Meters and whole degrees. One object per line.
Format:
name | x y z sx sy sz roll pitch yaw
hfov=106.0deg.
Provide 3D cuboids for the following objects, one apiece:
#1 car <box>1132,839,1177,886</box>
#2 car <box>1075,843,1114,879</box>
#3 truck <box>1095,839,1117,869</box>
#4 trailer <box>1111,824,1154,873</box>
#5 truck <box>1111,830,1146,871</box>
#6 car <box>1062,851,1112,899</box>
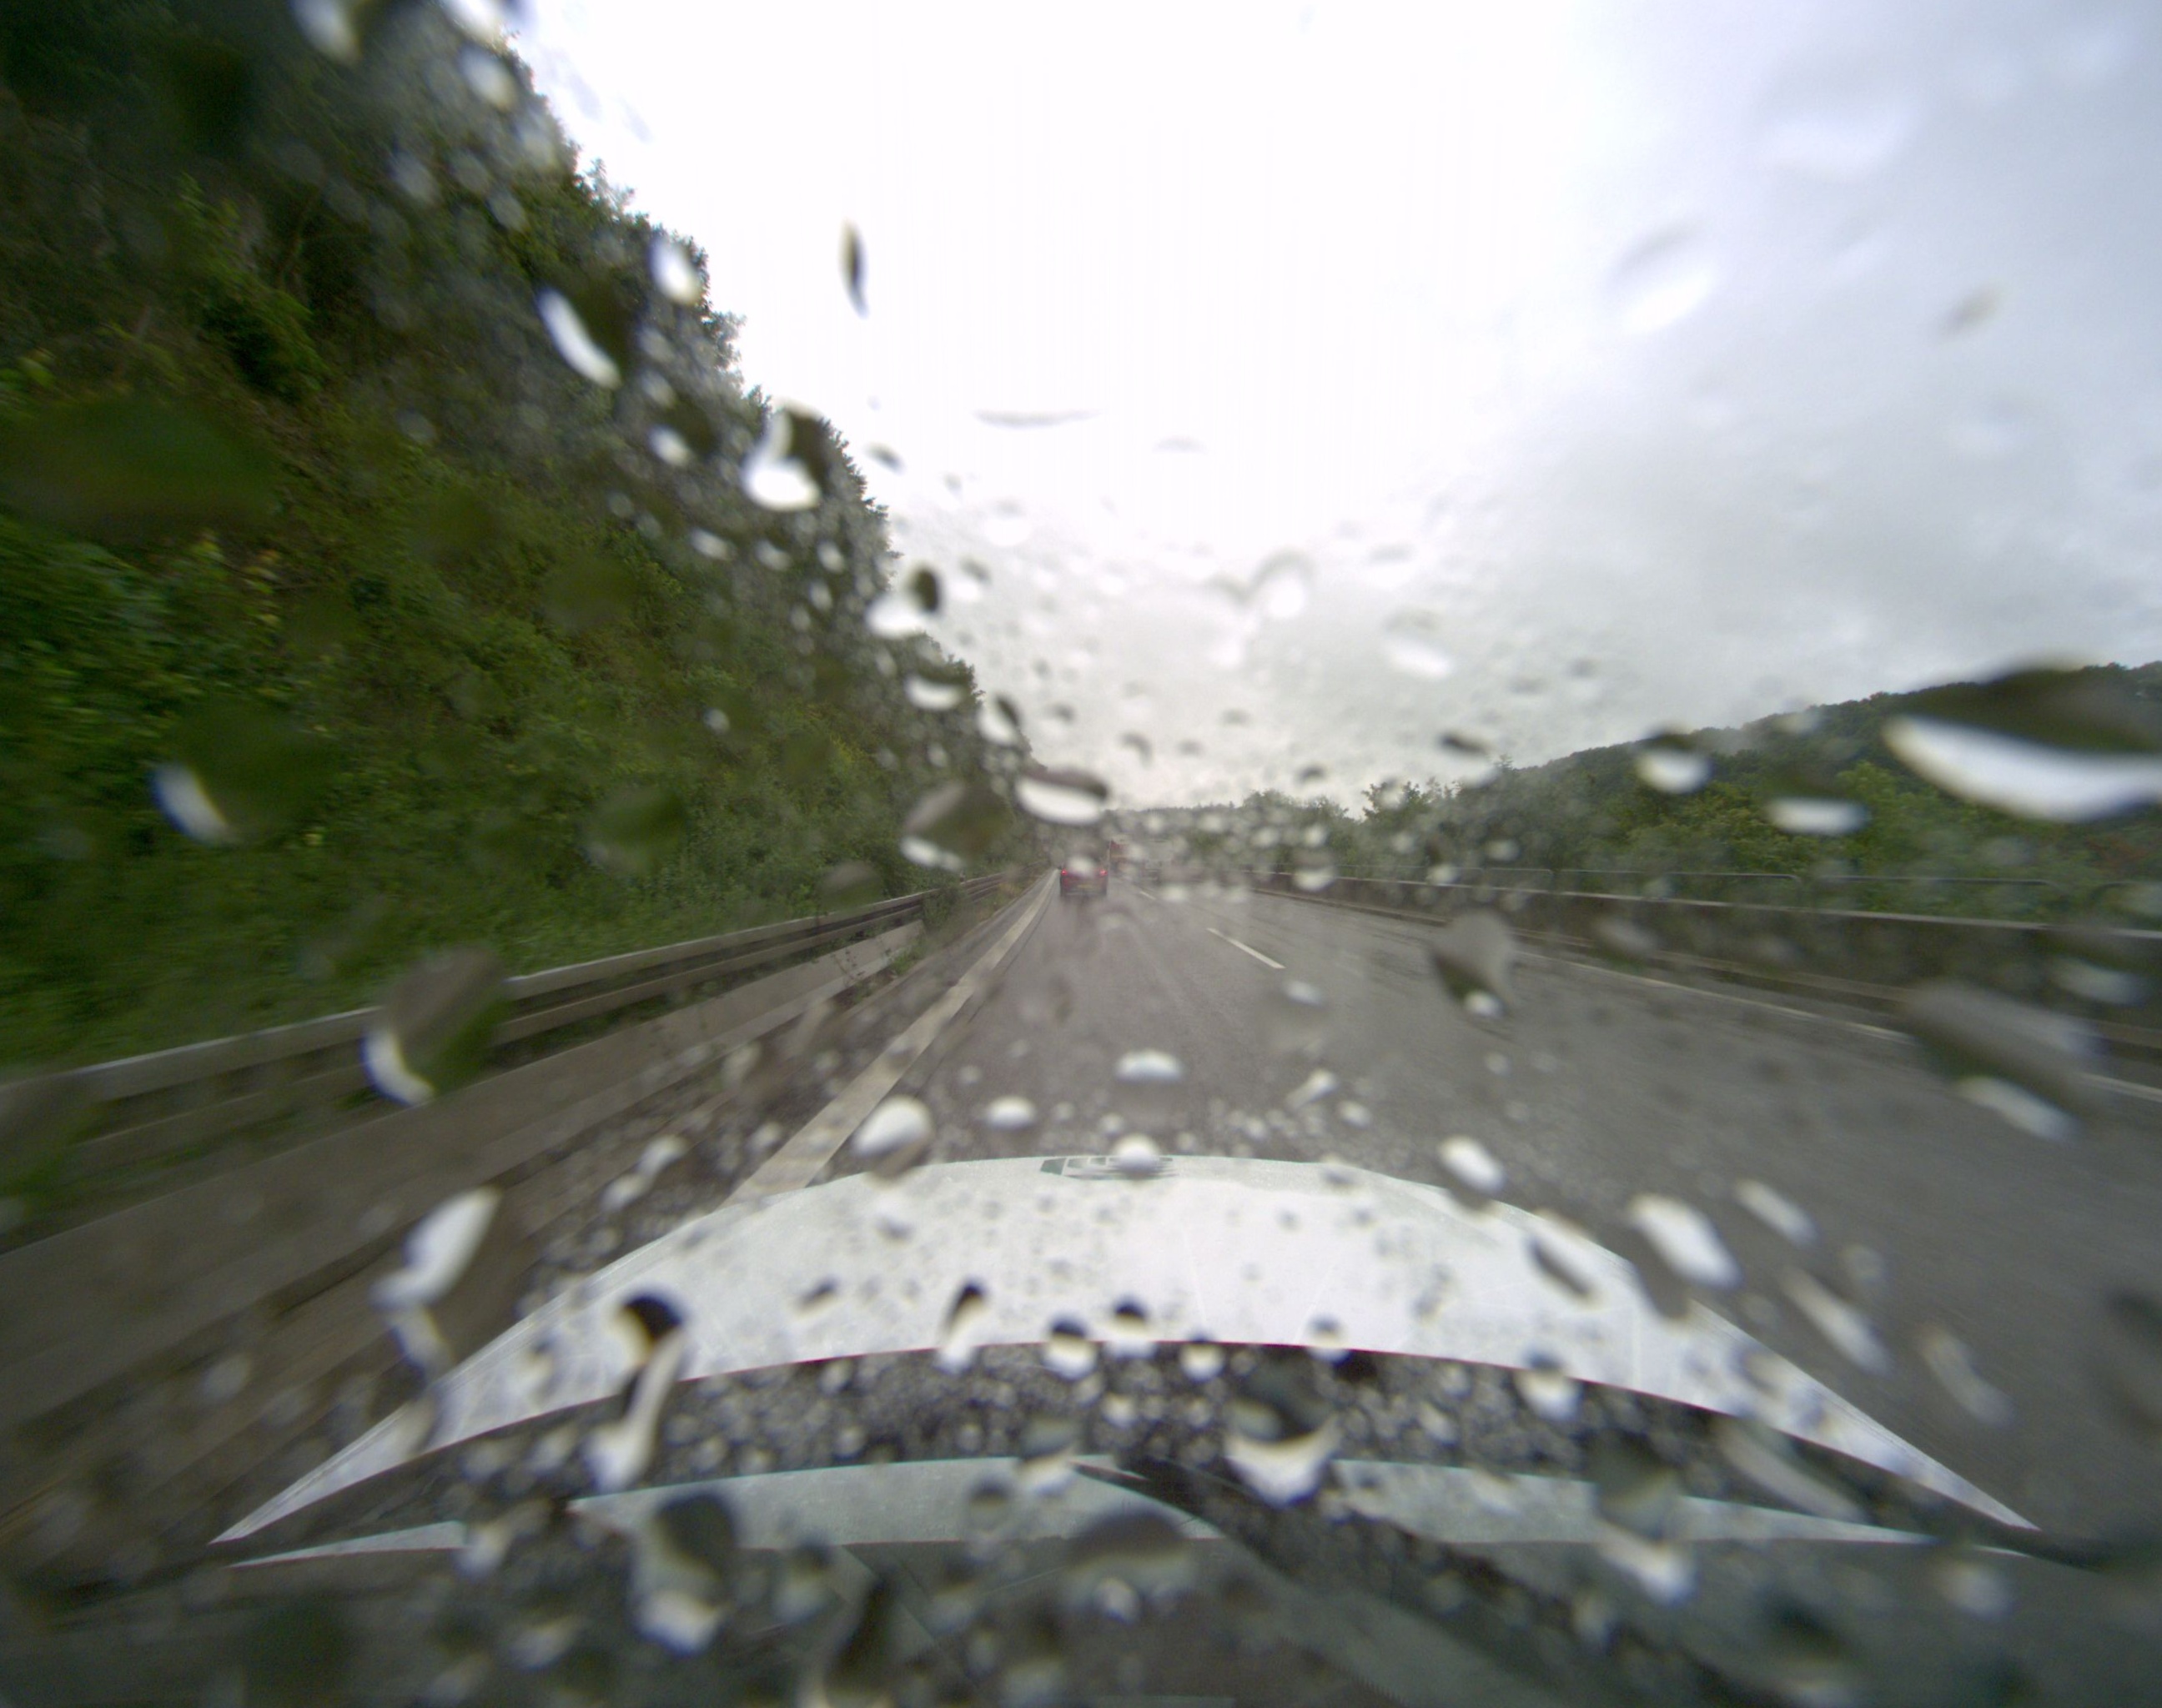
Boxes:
car | 4.731 0.527 53.341 2.199 2.794 7.381 2 0 0
car | 0.659 0.367 40.779 1.827 1.715 3.644 -1 -1 0
truck | 4.083 0.050 134.138 3.212 4.682 8.298 -1 -1 0
trailer | 4.523 -0.387 74.343 3.207 3.999 13.526 1 0 1
truck | 4.691 -0.331 81.606 3.208 3.978 5.440 1 -1 1
car | 0.202 0.772 30.802 1.753 1.684 3.998 -1 -1 -1
